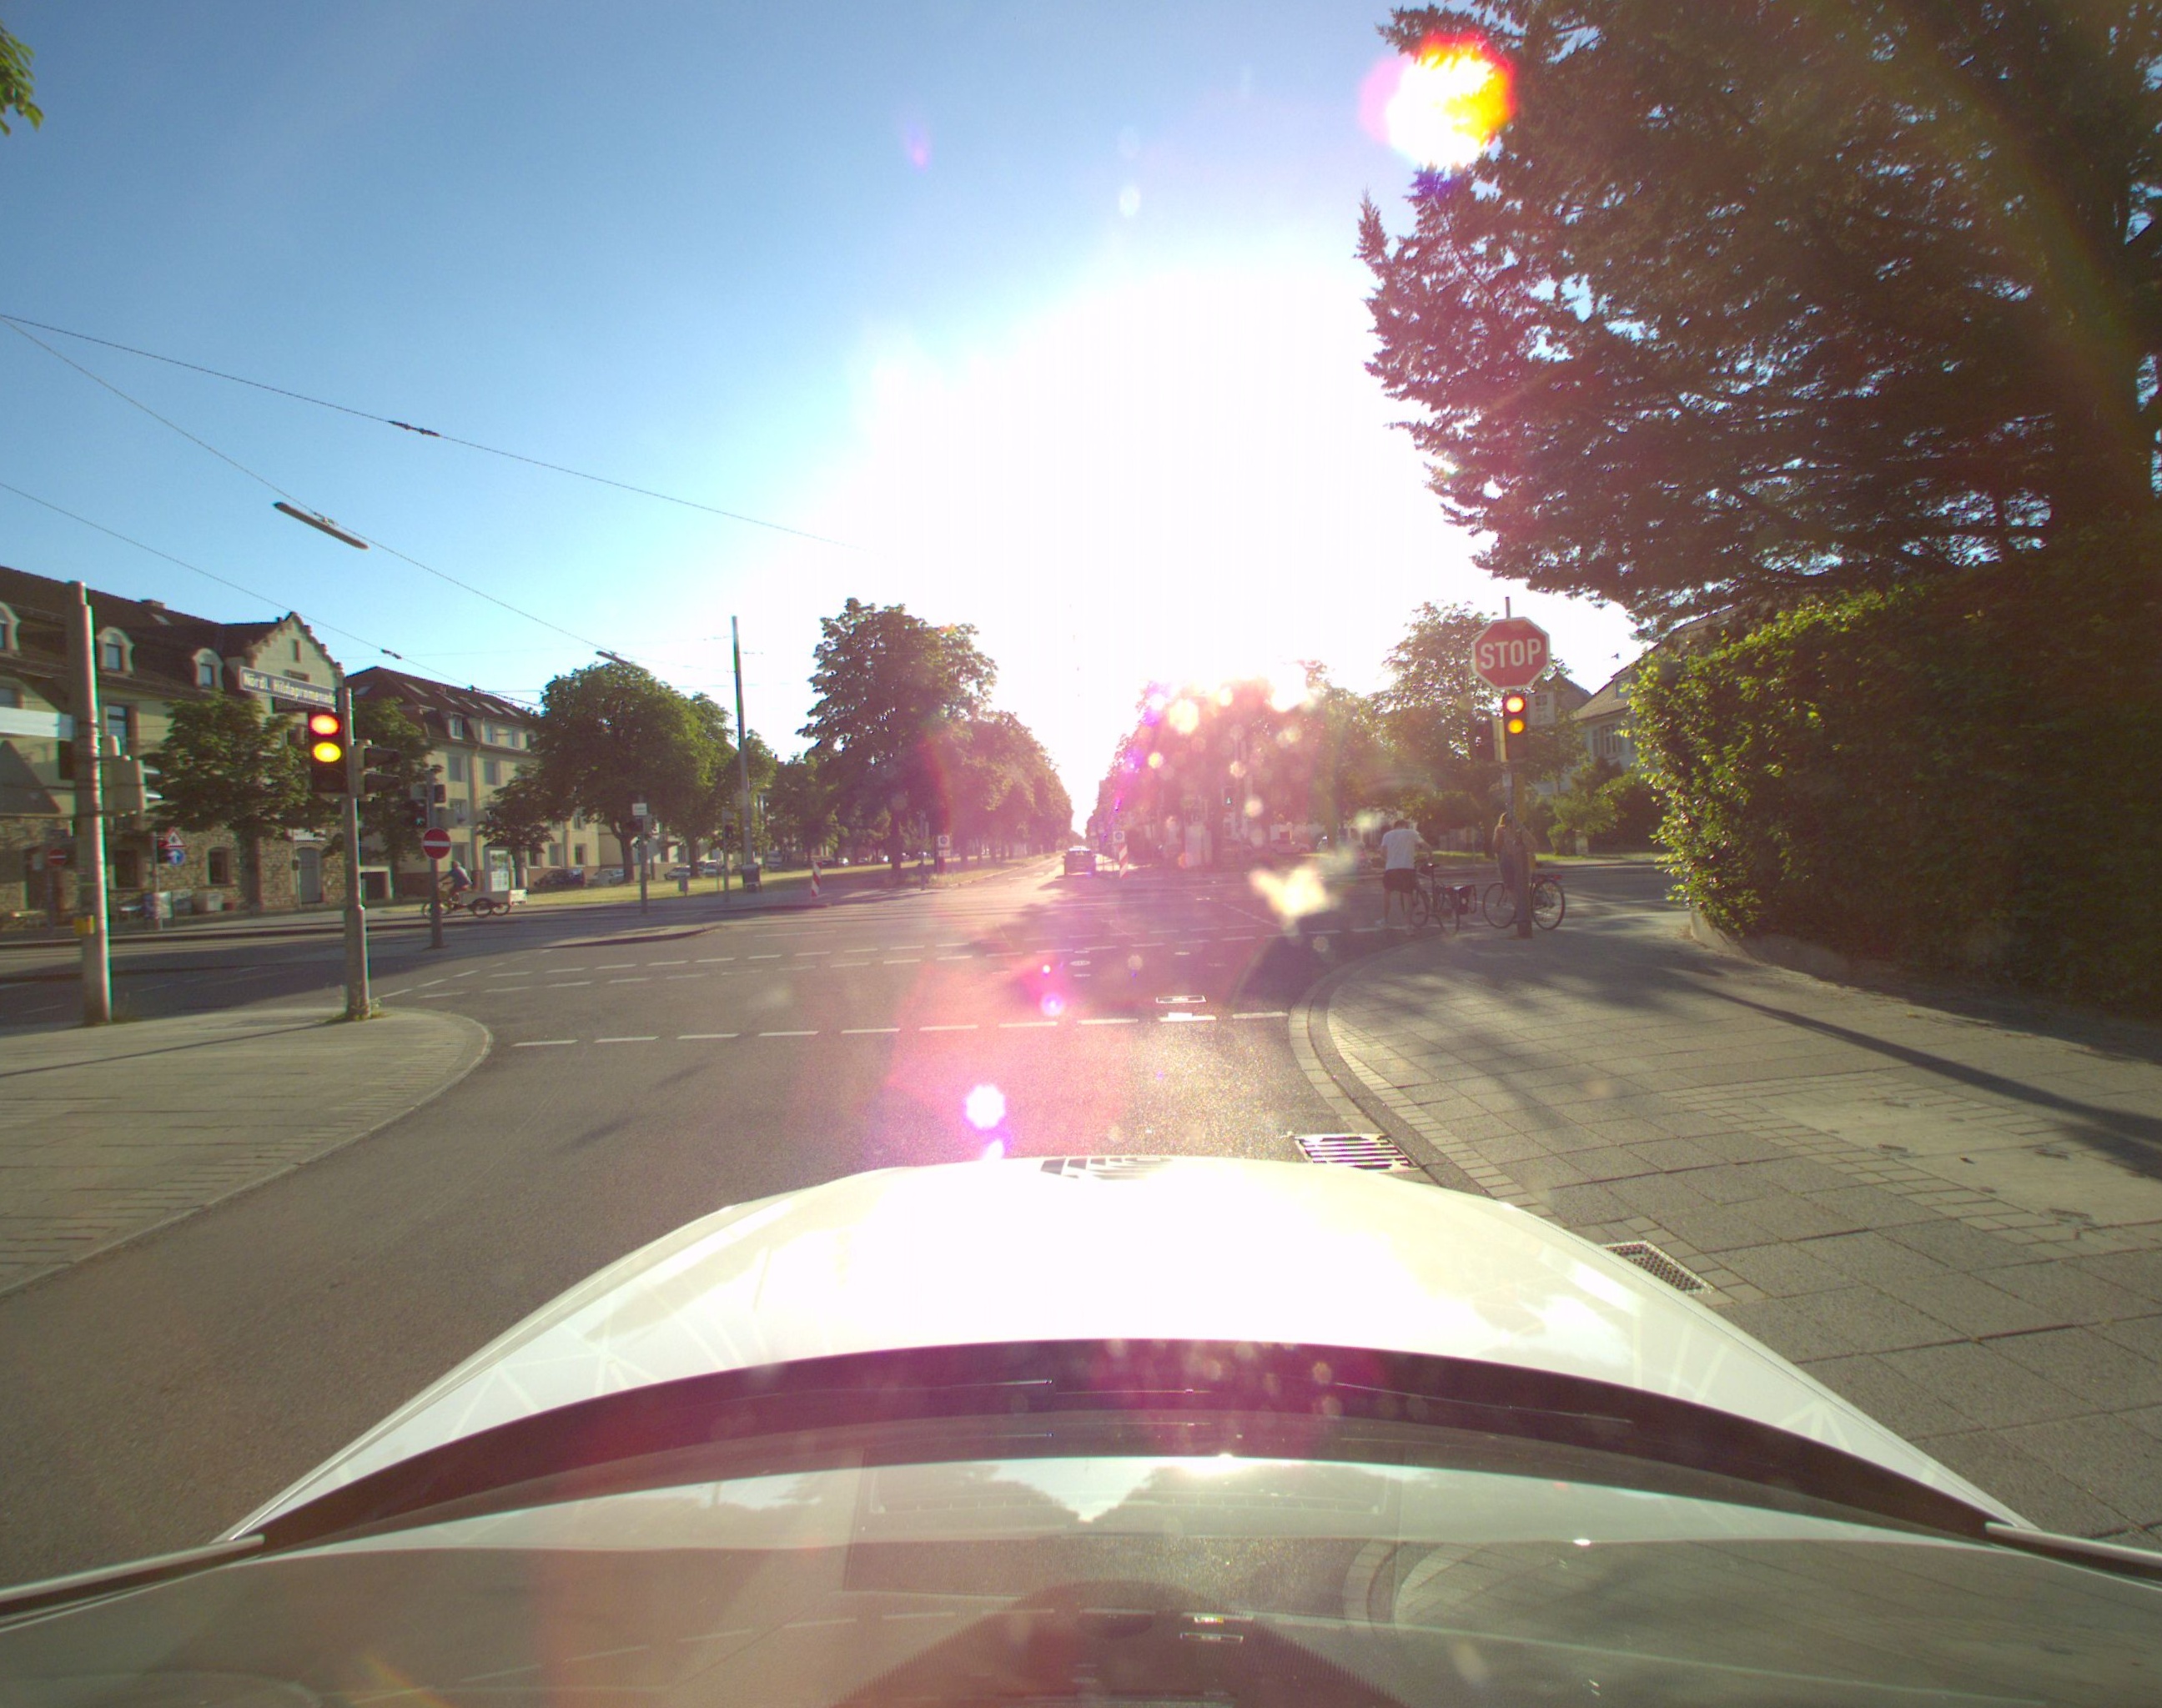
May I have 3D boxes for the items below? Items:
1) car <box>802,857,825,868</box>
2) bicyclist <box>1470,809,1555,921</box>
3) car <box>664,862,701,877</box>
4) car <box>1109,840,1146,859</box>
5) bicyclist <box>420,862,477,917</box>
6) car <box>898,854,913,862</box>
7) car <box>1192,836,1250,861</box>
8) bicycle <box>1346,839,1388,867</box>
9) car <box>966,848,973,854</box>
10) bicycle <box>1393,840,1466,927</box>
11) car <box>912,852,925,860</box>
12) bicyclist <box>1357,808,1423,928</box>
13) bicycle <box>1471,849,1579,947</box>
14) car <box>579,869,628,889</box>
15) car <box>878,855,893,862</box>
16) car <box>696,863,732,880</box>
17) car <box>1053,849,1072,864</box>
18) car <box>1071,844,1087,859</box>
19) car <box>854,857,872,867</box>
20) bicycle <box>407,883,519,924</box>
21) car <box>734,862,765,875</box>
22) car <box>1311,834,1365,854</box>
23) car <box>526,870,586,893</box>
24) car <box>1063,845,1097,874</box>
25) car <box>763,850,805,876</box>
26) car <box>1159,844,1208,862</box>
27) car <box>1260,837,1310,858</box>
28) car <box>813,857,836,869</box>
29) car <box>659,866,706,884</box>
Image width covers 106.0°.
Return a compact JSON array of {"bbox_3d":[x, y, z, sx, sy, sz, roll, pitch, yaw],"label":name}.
[{"bbox_3d":[-42.038,1.317,127.927,1.986,1.659,4.376,0,-1,2],"label":"car"},{"bbox_3d":[6.223,0.154,11.793,0.711,1.562,0.893,0,-1,-3],"label":"bicyclist"},{"bbox_3d":[-42.714,1.645,87.402,1.709,1.633,4.192,0,-1,2],"label":"car"},{"bbox_3d":[5.327,-0.528,93.596,3.980,1.822,1.757,-3,-5,-5],"label":"car"},{"bbox_3d":[-20.798,1.163,26.798,1.139,1.723,0.876,-3,-1,4],"label":"bicyclist"},{"bbox_3d":[-36.326,0.909,168.678,2.016,1.659,3.984,0,-1,1],"label":"car"},{"bbox_3d":[11.227,-0.428,65.466,4.228,1.875,2.030,-2,-1,-1],"label":"car"},{"bbox_3d":[11.494,-0.040,32.779,1.513,1.089,0.468,-2,0,9],"label":"bicycle"},{"bbox_3d":[-34.792,-0.933,255.063,1.649,1.938,3.566,0,-2,-1],"label":"car"},{"bbox_3d":[5.111,0.404,12.038,0.569,1.184,1.911,0,0,10],"label":"bicycle"},{"bbox_3d":[-37.570,0.457,188.344,1.987,1.658,4.570,-2,0,0],"label":"car"},{"bbox_3d":[4.642,0.210,12.306,0.809,1.732,0.897,-1,-1,13],"label":"bicyclist"},{"bbox_3d":[6.284,0.573,11.651,0.489,1.183,1.965,0,3,1],"label":"bicycle"},{"bbox_3d":[-42.997,2.253,73.420,1.986,1.659,4.001,0,-1,2],"label":"car"},{"bbox_3d":[-41.759,0.973,173.943,1.986,1.659,4.357,0,-1,2],"label":"car"},{"bbox_3d":[-37.231,1.756,82.717,1.791,1.554,4.417,0,1,-2],"label":"car"},{"bbox_3d":[-1.732,0.251,78.417,1.704,1.359,4.202,0,0,0],"label":"car"},{"bbox_3d":[-0.267,-0.320,103.953,1.987,1.781,3.999,0,1,-1],"label":"car"},{"bbox_3d":[-36.923,1.342,137.928,1.805,1.781,4.123,0,-1,1],"label":"car"},{"bbox_3d":[-20.294,1.621,26.774,3.059,1.161,0.876,-3,-1,4],"label":"bicycle"},{"bbox_3d":[-42.186,1.816,103.857,1.986,1.659,4.572,0,0,2],"label":"car"},{"bbox_3d":[20.727,-0.808,65.721,3.915,1.524,1.521,-1,-1,-5],"label":"car"},{"bbox_3d":[-43.222,2.227,67.155,1.986,1.736,4.313,0,-1,2],"label":"car"},{"bbox_3d":[0.006,0.311,44.694,1.719,1.511,4.542,0,0,2],"label":"car"},{"bbox_3d":[-37.172,1.037,102.125,2.384,3.131,7.853,0,0,0],"label":"car"},{"bbox_3d":[8.870,-0.068,70.691,3.975,1.446,1.715,-2,-1,-1],"label":"car"},{"bbox_3d":[16.313,-0.516,65.125,3.548,1.516,1.602,-2,0,-6],"label":"car"},{"bbox_3d":[-37.116,1.322,117.739,1.873,1.674,4.315,0,0,1],"label":"car"},{"bbox_3d":[-37.472,1.945,76.681,1.986,1.659,4.572,0,0,2],"label":"car"}]
